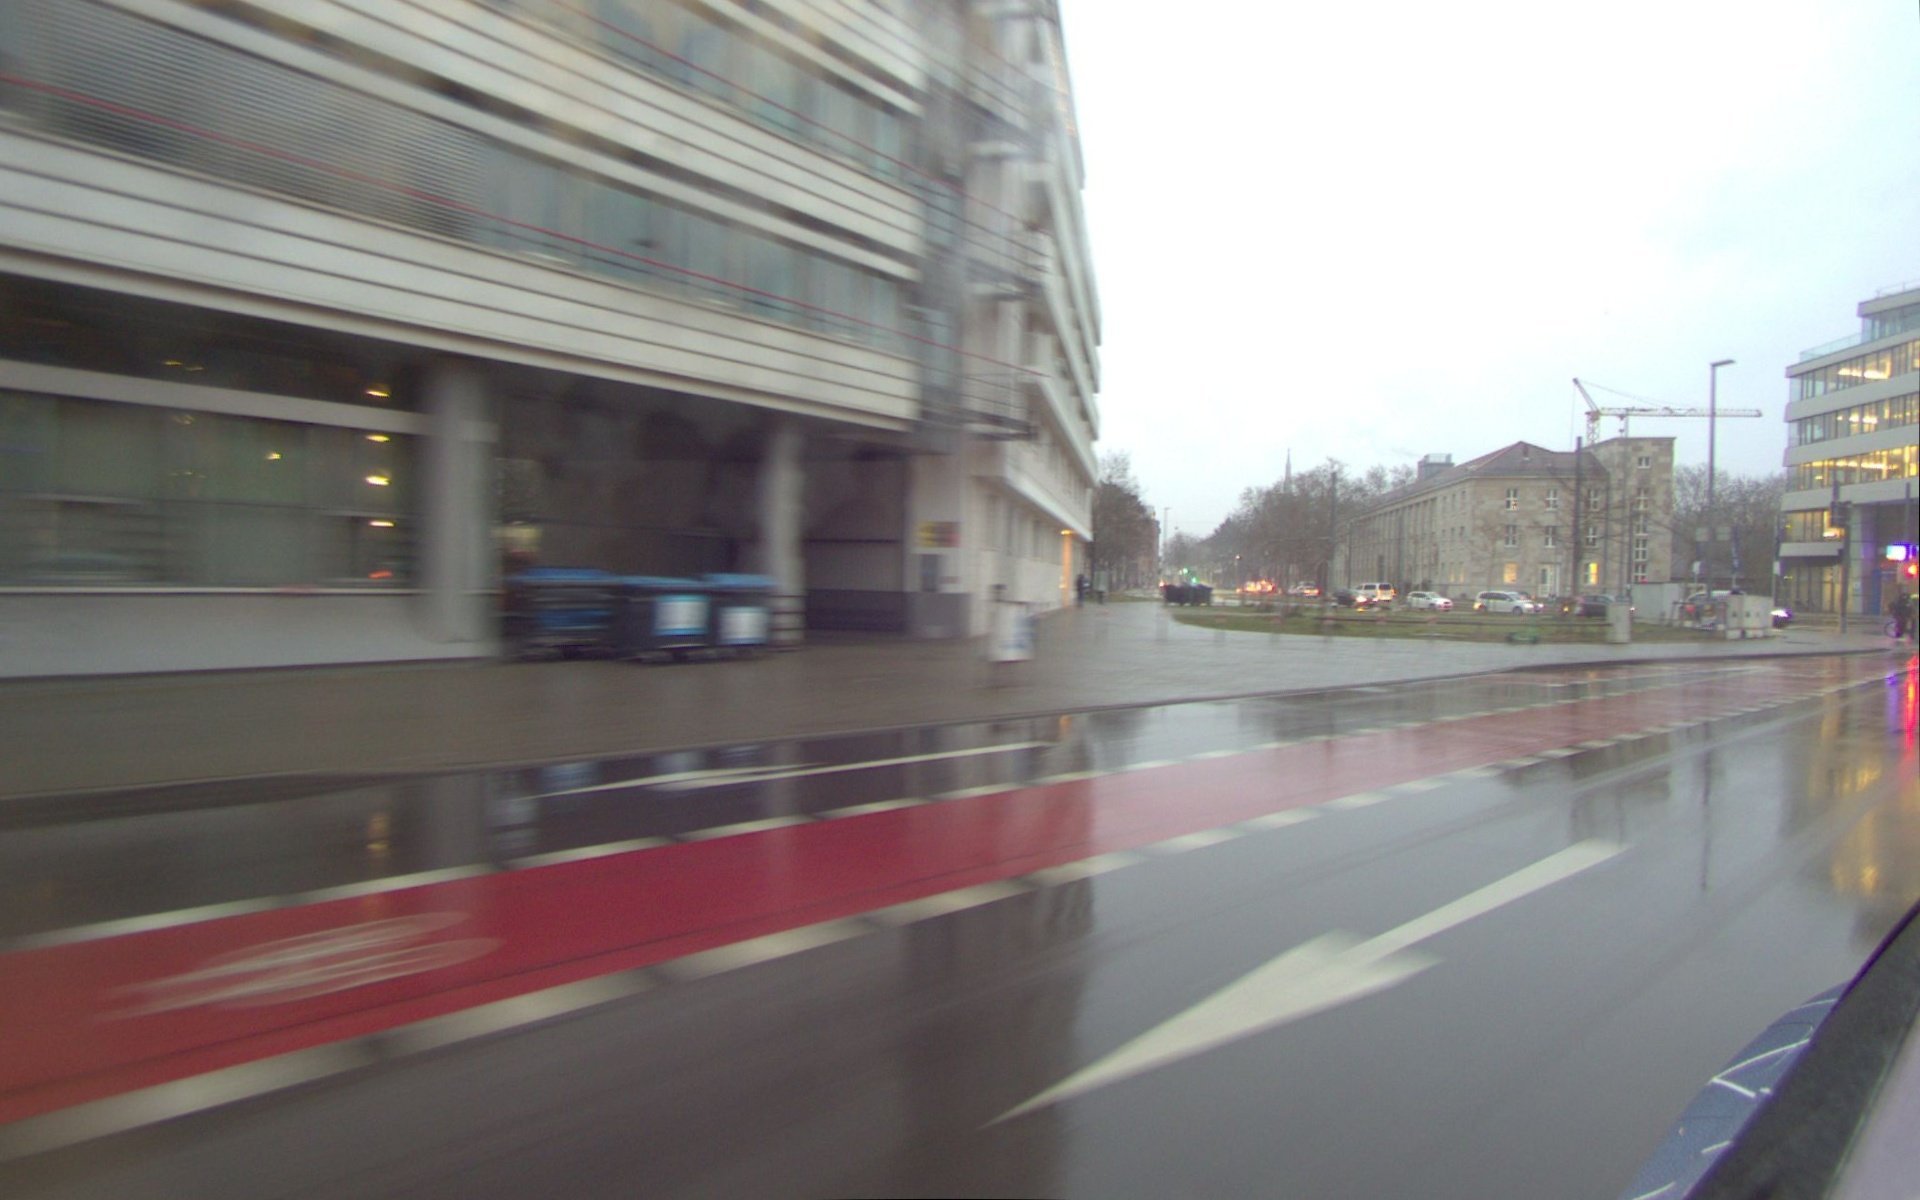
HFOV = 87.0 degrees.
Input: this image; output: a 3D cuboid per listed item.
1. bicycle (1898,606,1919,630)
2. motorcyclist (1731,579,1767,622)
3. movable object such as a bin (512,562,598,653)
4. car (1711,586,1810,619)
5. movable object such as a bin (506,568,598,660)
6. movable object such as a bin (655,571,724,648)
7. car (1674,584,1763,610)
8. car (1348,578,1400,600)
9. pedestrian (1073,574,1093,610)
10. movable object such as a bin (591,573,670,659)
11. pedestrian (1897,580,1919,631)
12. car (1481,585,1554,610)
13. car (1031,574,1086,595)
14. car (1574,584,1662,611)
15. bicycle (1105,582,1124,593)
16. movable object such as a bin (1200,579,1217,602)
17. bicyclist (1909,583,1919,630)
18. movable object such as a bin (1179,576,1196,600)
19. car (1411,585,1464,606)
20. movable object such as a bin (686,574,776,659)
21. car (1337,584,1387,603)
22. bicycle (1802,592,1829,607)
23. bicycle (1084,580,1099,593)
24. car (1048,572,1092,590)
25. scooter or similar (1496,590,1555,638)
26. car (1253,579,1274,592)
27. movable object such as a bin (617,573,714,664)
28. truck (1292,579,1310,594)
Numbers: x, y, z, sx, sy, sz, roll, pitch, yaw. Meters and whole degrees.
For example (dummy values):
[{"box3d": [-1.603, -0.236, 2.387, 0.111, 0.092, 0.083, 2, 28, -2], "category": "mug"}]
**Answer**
[{"box3d": [40.136, 0.769, 41.865, 0.643, 0.985, 1.871, 1, 1, -18], "category": "bicycle"}, {"box3d": [35.562, 0.000, 45.643, 0.870, 1.905, 0.921, 1, 1, 2], "category": "motorcyclist"}, {"box3d": [-6.575, 0.108, 16.459, 0.728, 1.399, 1.064, 4, 3, 39], "category": "movable object such as a bin"}, {"box3d": [42.468, 0.095, 53.727, 3.990, 1.619, 1.874, 2, 2, 41], "category": "car"}, {"box3d": [-6.223, 0.196, 15.443, 0.864, 1.310, 0.998, 4, 3, 39], "category": "movable object such as a bin"}, {"box3d": [-4.906, 0.155, 18.381, 0.728, 1.321, 0.950, 4, 3, 39], "category": "movable object such as a bin"}, {"box3d": [53.473, -0.242, 71.425, 1.892, 1.740, 4.613, 0, 1, -33], "category": "car"}, {"box3d": [41.252, -1.106, 100.927, 1.912, 2.084, 5.673, 1, 1, -12], "category": "car"}, {"box3d": [5.772, -0.373, 47.440, 0.630, 1.653, 0.711, 2, 1, 42], "category": "pedestrian"}, {"box3d": [-5.325, 0.238, 16.387, 0.728, 1.321, 0.950, 4, 3, 39], "category": "movable object such as a bin"}, {"box3d": [36.293, 0.211, 38.439, 0.763, 1.901, 0.633, 1, 1, 9], "category": "pedestrian"}, {"box3d": [38.495, -0.167, 69.958, 1.642, 1.619, 4.231, 0, 1, -25], "category": "car"}, {"box3d": [8.076, -1.286, 82.754, 4.069, 1.589, 1.746, 1, 1, -21], "category": "car"}, {"box3d": [41.381, -0.163, 63.764, 1.789, 1.589, 4.370, 0, 1, -25], "category": "car"}, {"box3d": [14.622, -1.194, 95.911, 1.766, 0.943, 0.445, 3, 1, 9], "category": "bicycle"}, {"box3d": [16.751, -0.629, 68.286, 1.038, 1.529, 1.247, 1, 1, 15], "category": "movable object such as a bin"}, {"box3d": [40.200, 0.281, 41.939, 0.776, 1.914, 0.991, 1, 1, -18], "category": "bicyclist"}, {"box3d": [15.435, -0.814, 68.626, 1.038, 1.595, 1.135, 1, 1, 15], "category": "movable object such as a bin"}, {"box3d": [35.821, -0.365, 75.957, 1.655, 1.448, 3.354, 0, 2, -22], "category": "car"}, {"box3d": [-3.776, 0.253, 16.723, 0.843, 1.310, 1.152, 4, 3, 39], "category": "movable object such as a bin"}, {"box3d": [33.080, -0.522, 83.384, 1.839, 1.493, 4.178, 0, 1, -10], "category": "car"}, {"box3d": [67.814, -0.035, 80.229, 1.475, 1.141, 0.526, 1, 1, 13], "category": "bicycle"}, {"box3d": [11.365, -1.148, 87.282, 0.532, 1.031, 1.887, 3, 1, 29], "category": "bicycle"}, {"box3d": [11.515, -1.949, 106.145, 4.254, 1.790, 1.785, 1, 1, -20], "category": "car"}, {"box3d": [15.348, 0.369, 27.443, 1.525, 1.242, 0.671, -1, 2, -29], "category": "scooter or similar"}, {"box3d": [45.531, -2.183, 151.883, 1.871, 1.894, 4.960, -1, 2, 4], "category": "car"}, {"box3d": [-4.559, 0.261, 15.688, 0.843, 1.310, 1.152, 4, 3, 39], "category": "movable object such as a bin"}, {"box3d": [47.229, -1.914, 140.277, 1.810, 2.070, 3.985, 1, 1, 12], "category": "truck"}]
